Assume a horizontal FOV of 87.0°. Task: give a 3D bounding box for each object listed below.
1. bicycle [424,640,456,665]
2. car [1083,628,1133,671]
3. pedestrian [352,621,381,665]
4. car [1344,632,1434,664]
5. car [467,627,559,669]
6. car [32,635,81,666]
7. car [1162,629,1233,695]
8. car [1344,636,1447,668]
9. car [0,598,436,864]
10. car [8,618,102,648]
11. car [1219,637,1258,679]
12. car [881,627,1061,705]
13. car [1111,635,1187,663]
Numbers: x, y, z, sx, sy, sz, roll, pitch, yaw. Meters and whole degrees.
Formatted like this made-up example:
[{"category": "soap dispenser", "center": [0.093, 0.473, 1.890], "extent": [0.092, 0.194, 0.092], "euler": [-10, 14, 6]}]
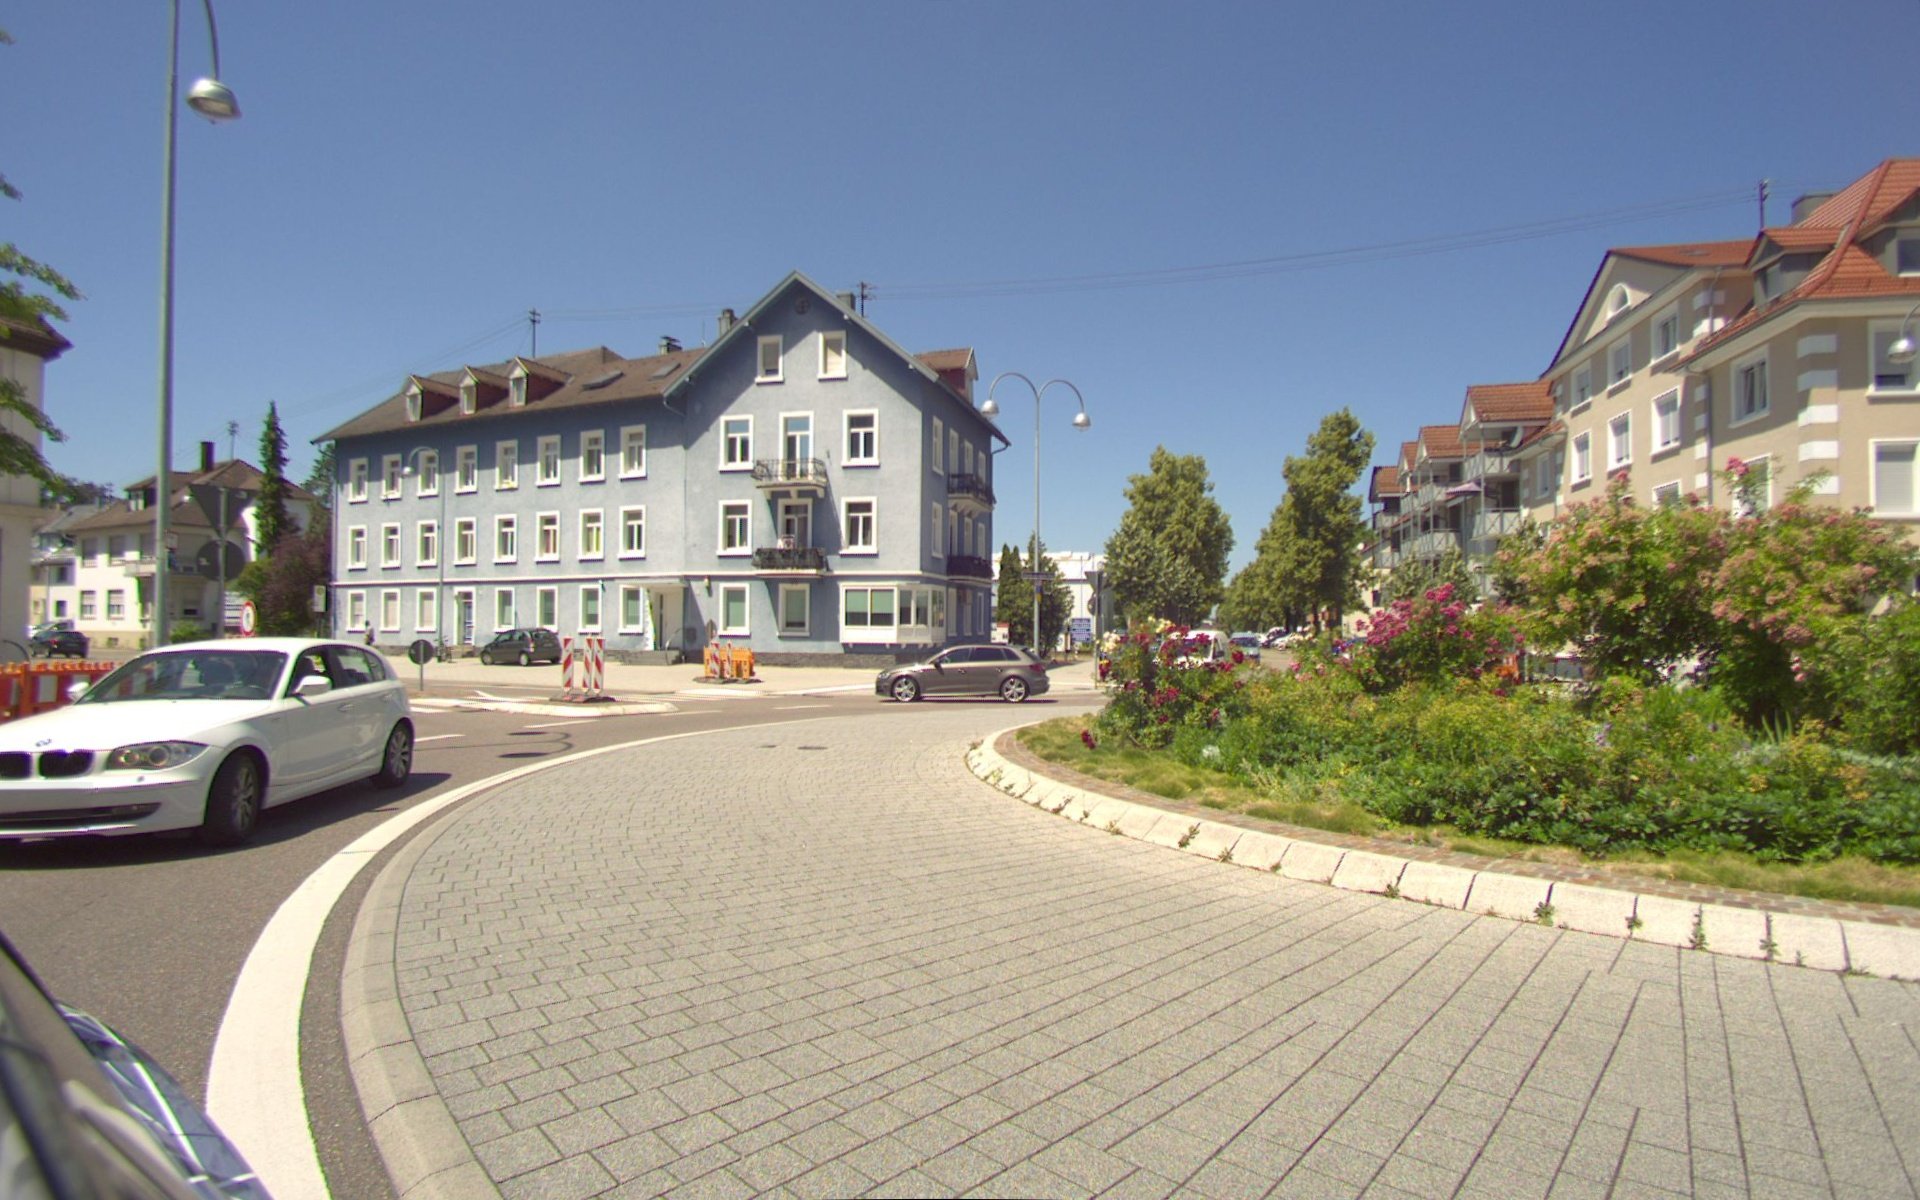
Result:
[{"category": "bicycle", "center": [-22.392, 2.241, 43.585], "extent": [1.972, 0.984, 0.491], "euler": [0, 3, 40]}, {"category": "car", "center": [6.591, 2.140, 44.721], "extent": [1.764, 1.791, 4.223], "euler": [0, -2, 14]}, {"category": "pedestrian", "center": [-26.121, 1.876, 44.528], "extent": [0.768, 1.862, 0.751], "euler": [-1, 1, 29]}, {"category": "car", "center": [23.833, 2.678, 56.428], "extent": [4.332, 1.683, 1.973], "euler": [0, -3, 15]}, {"category": "car", "center": [-18.490, 1.946, 41.824], "extent": [3.760, 1.546, 1.567], "euler": [1, -1, 30]}, {"category": "car", "center": [-46.916, 2.594, 52.620], "extent": [1.638, 1.463, 4.030], "euler": [5, -4, -39]}, {"category": "car", "center": [7.124, 1.776, 30.106], "extent": [1.766, 1.791, 4.219], "euler": [0, -2, 17]}, {"category": "car", "center": [21.406, 2.562, 49.884], "extent": [4.368, 1.504, 1.973], "euler": [0, -3, 15]}, {"category": "car", "center": [-5.943, 0.891, 8.108], "extent": [1.759, 1.563, 4.134], "euler": [-1, -3, -7]}, {"category": "car", "center": [-61.230, 2.290, 68.580], "extent": [1.838, 1.891, 4.332], "euler": [-1, -4, 22]}, {"category": "car", "center": [15.166, 3.107, 55.127], "extent": [1.982, 2.029, 3.979], "euler": [0, 0, 16]}, {"category": "car", "center": [0.314, 1.567, 24.550], "extent": [4.193, 1.791, 1.777], "euler": [0, -2, 8]}, {"category": "car", "center": [10.368, 2.644, 55.512], "extent": [3.995, 1.369, 1.653], "euler": [0, 1, 16]}]
